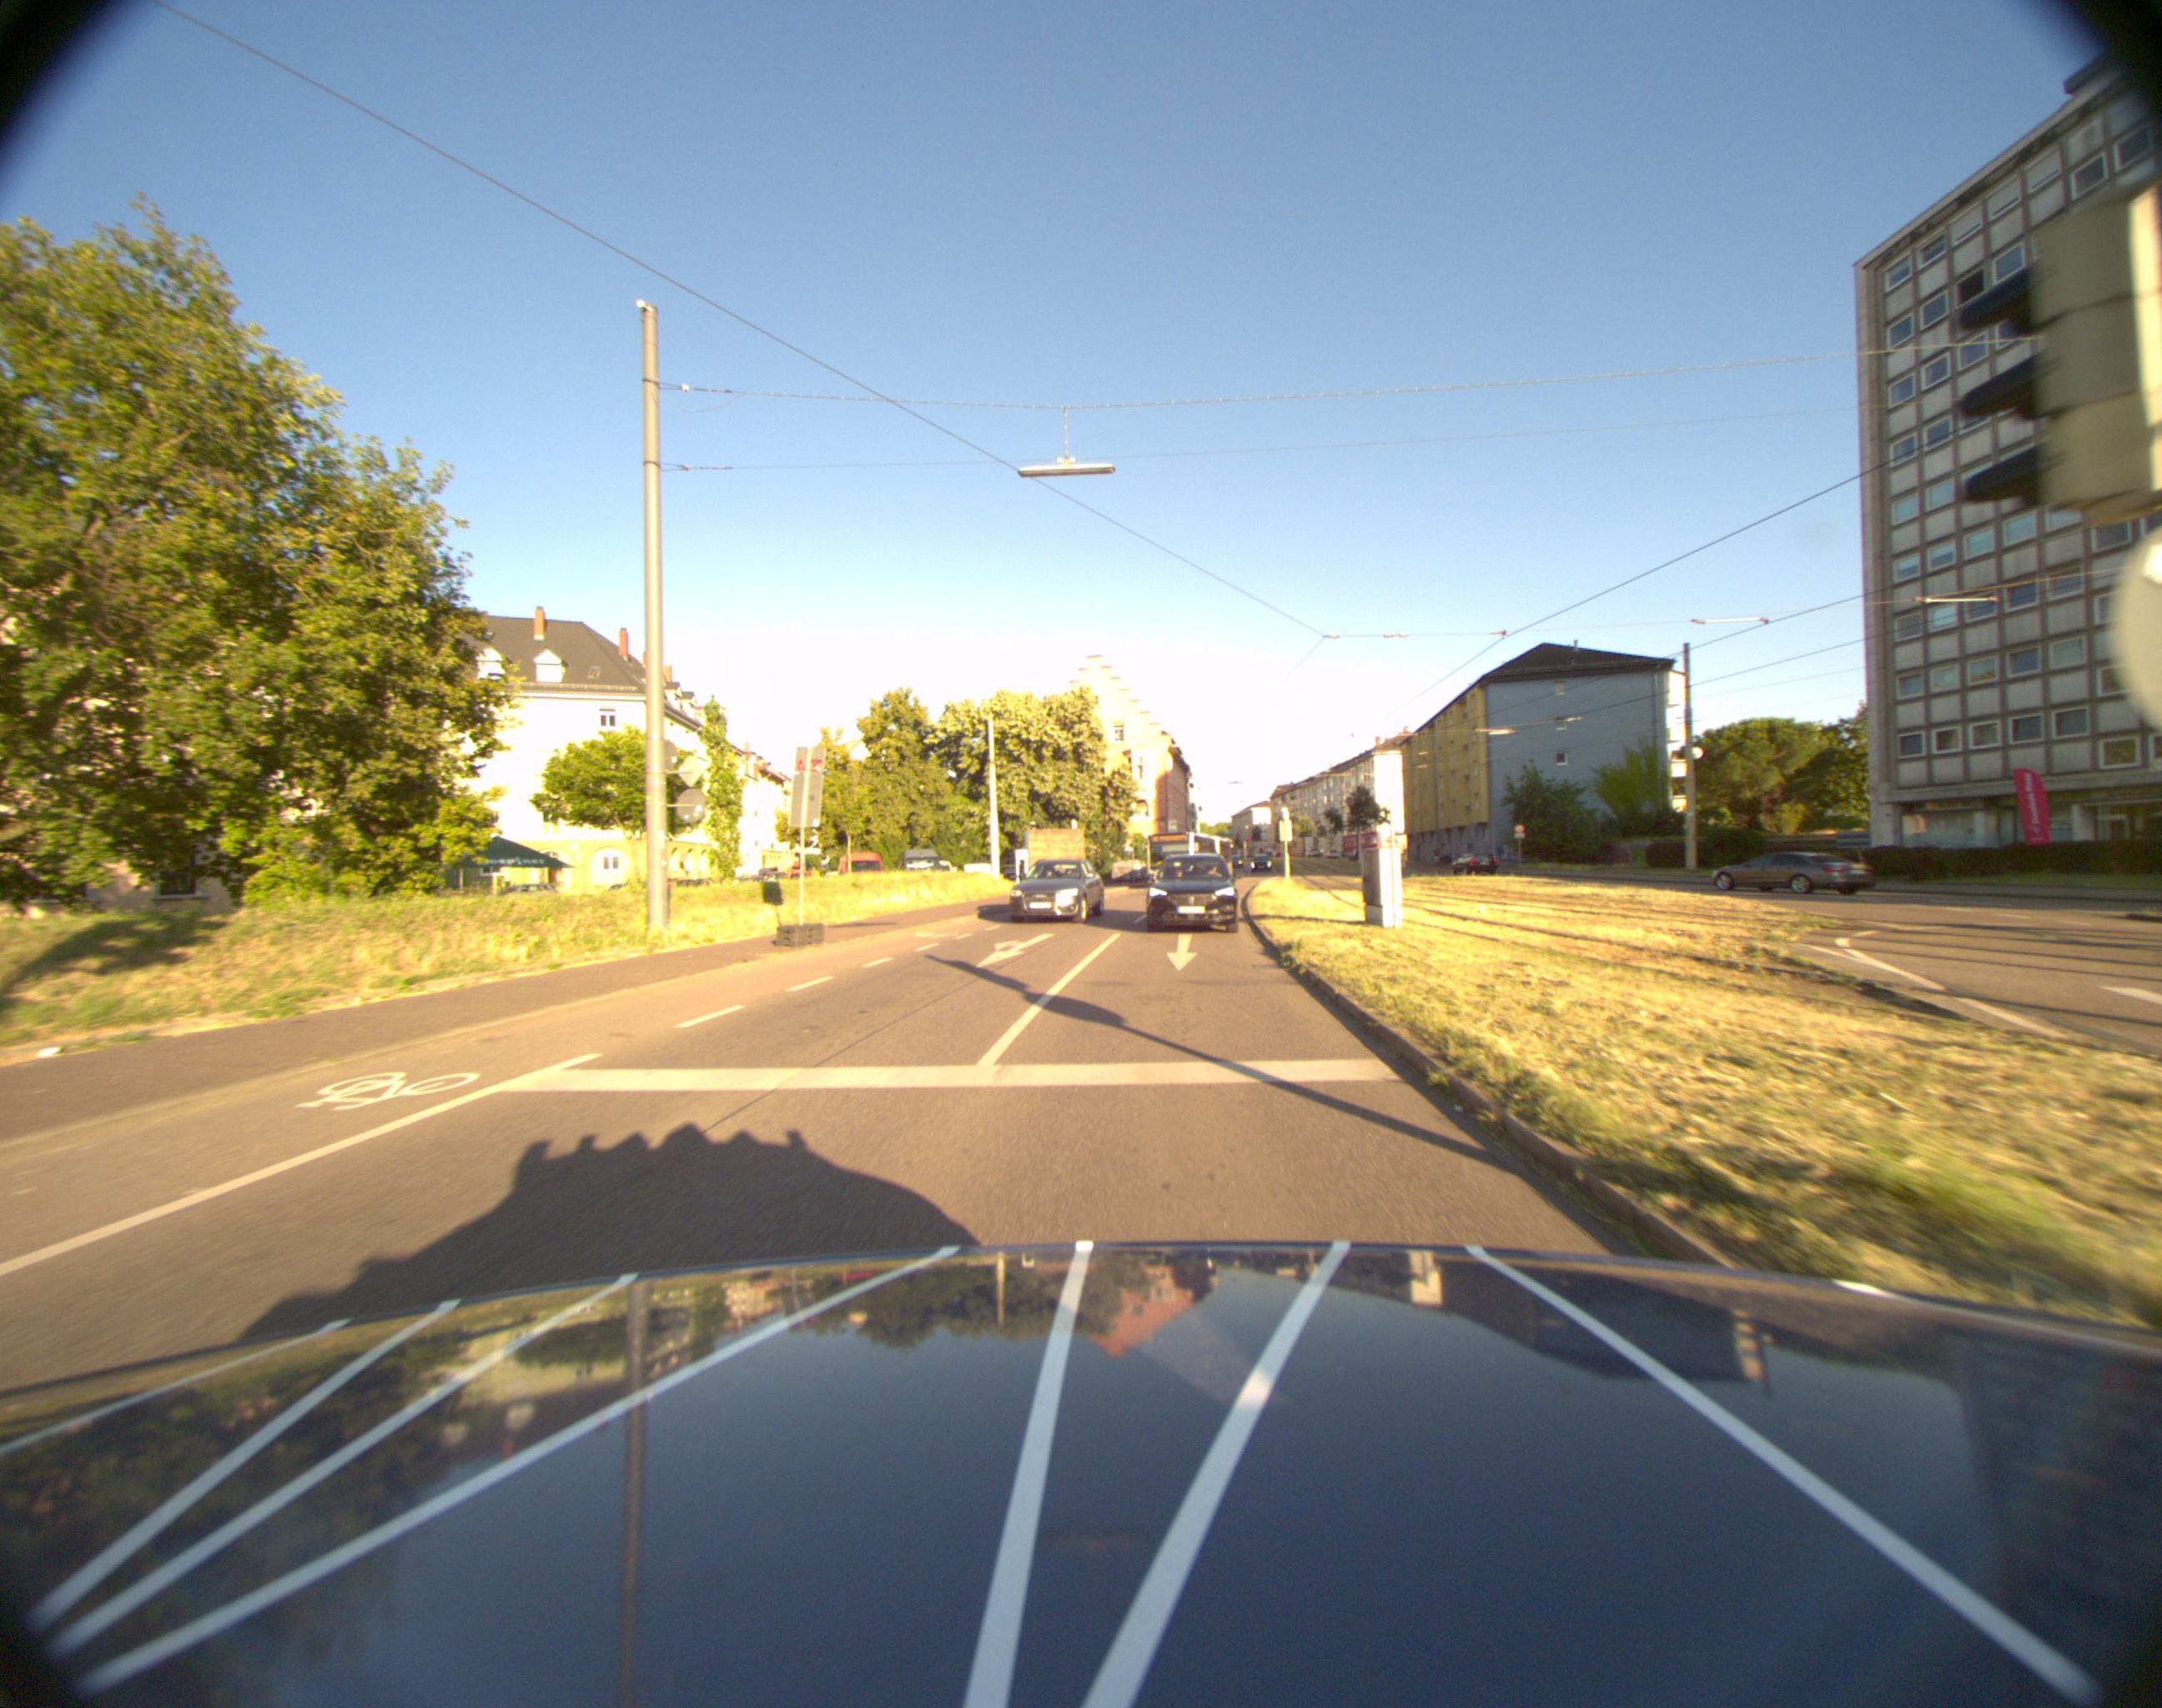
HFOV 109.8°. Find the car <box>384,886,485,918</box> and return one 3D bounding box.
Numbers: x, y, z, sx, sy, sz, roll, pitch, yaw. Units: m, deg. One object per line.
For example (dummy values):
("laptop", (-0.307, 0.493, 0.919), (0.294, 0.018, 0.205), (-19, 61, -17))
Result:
("car", (-33.520, 2.460, 39.482), (3.639, 1.377, 1.554), (-2, 0, -17))

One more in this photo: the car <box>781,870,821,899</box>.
("car", (-14.464, 1.534, 39.280), (1.781, 1.365, 3.883), (-1, 0, -20))

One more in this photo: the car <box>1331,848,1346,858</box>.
("car", (41.127, -0.195, 121.406), (1.700, 1.451, 4.318), (0, 1, 9))

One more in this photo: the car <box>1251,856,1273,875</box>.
("car", (17.385, 1.042, 72.849), (1.996, 1.761, 4.004), (-1, 0, 14))

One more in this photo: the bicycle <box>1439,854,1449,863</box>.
("bicycle", (36.704, 0.444, 76.918), (0.428, 0.919, 1.913), (-5, 0, 13))

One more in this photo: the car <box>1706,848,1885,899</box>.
("car", (24.779, 0.621, 26.629), (1.656, 1.586, 4.583), (-2, 0, -6))

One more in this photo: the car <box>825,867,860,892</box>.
("car", (-16.275, 1.691, 51.796), (1.928, 1.531, 3.900), (-2, 0, -22))

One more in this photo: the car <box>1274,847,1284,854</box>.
("car", (45.729, -0.761, 175.873), (1.796, 1.460, 4.798), (0, 1, 9))

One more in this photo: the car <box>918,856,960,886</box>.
("car", (-10.111, 1.169, 53.792), (1.928, 1.967, 4.741), (-1, 0, -22))

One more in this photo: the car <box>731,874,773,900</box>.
("car", (-16.592, 1.621, 38.442), (1.708, 1.154, 3.701), (-1, 0, -20))

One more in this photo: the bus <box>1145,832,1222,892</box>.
("bus", (6.291, 0.296, 44.872), (2.728, 3.059, 10.611), (-2, 1, 17))

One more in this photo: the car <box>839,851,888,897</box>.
("car", (-11.614, 1.021, 40.359), (2.045, 2.201, 5.406), (-1, 0, -20))

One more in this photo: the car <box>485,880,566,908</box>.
("car", (-33.681, 2.402, 46.161), (3.646, 1.521, 1.530), (-2, 0, -17))

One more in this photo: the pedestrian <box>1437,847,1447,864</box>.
("pedestrian", (35.823, 0.133, 75.380), (0.617, 1.684, 0.707), (-6, -1, 11))

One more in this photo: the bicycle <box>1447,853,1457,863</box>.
("bicycle", (36.089, 0.395, 73.869), (0.427, 0.954, 1.913), (-1, 0, 13))

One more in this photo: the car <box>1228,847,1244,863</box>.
("car", (18.690, 0.126, 91.561), (1.889, 1.871, 4.004), (-1, 0, 13))

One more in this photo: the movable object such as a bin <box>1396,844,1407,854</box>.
("movable object such as a bin", (47.678, -0.697, 113.203), (1.219, 1.407, 1.108), (-2, 1, 7))

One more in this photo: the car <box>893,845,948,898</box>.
("car", (-9.029, 0.926, 42.263), (2.045, 2.650, 6.205), (-1, 0, -20))

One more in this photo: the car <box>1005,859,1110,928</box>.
("car", (-0.483, 0.939, 19.541), (1.769, 1.578, 4.072), (-1, 0, 12))

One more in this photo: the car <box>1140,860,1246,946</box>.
("car", (2.594, 0.958, 16.749), (1.786, 1.614, 4.221), (-1, 0, 15))

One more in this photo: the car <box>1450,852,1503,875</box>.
("car", (26.935, 0.639, 51.912), (1.779, 1.473, 4.402), (0, 0, 7))

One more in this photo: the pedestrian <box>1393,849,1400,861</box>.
("pedestrian", (44.153, 0.149, 106.413), (0.614, 1.679, 0.792), (-2, 0, 6))

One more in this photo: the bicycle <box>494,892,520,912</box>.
("bicycle", (-30.413, 2.545, 40.286), (0.490, 0.963, 1.826), (-2, 0, -18))

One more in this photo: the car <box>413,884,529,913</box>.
("car", (-26.049, 1.885, 32.573), (3.544, 1.039, 1.520), (-1, 0, -21))

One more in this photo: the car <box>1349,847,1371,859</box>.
("car", (37.430, -0.105, 102.116), (1.921, 1.652, 4.713), (-1, 0, 10))

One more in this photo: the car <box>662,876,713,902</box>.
("car", (-19.036, 1.651, 36.869), (1.708, 1.083, 3.701), (-1, 0, -20))

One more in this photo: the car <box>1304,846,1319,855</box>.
("car", (46.131, -0.703, 152.315), (1.871, 1.818, 4.423), (-2, 0, 4))

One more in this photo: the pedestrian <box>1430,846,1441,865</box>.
("pedestrian", (34.909, 0.159, 74.801), (0.594, 1.762, 0.886), (-6, -1, 11))

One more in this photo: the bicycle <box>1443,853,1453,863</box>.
("bicycle", (36.578, 0.433, 75.672), (0.428, 0.919, 1.913), (-5, 0, 13))

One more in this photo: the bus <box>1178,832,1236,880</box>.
("bus", (9.334, 0.053, 55.056), (2.709, 3.059, 10.611), (-2, 1, 17))

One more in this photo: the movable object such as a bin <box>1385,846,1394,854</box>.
("movable object such as a bin", (46.589, -0.596, 114.753), (1.160, 1.278, 0.806), (-2, 1, 7))
